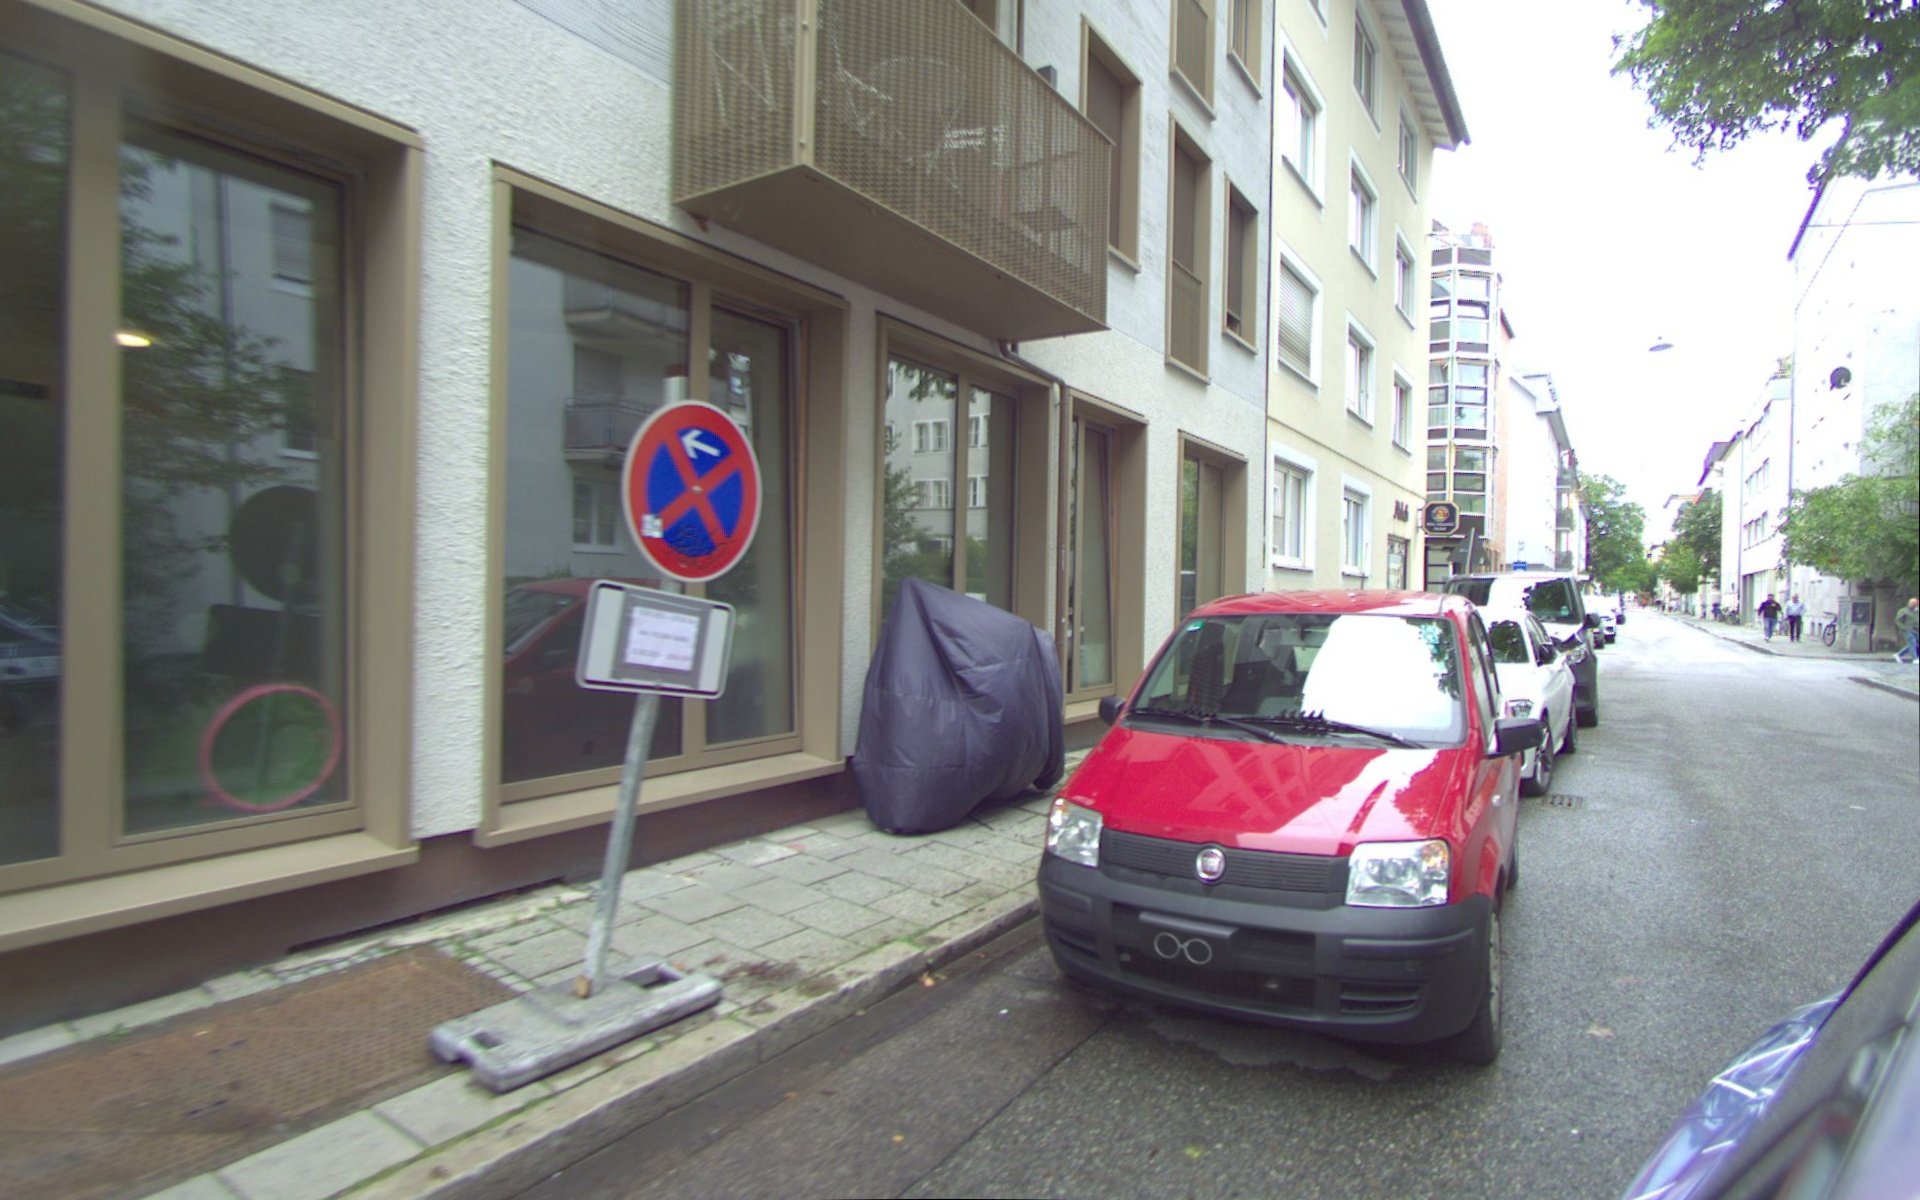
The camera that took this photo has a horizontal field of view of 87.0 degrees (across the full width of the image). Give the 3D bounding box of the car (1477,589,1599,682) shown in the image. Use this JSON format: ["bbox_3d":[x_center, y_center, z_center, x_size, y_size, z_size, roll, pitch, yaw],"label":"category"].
[{"bbox_3d":[10.376,0.569,18.059,1.628,1.490,3.494,-1,0,34],"label":"car"}]

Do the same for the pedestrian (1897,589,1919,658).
[{"bbox_3d":[24.039,0.570,25.314,0.686,1.699,0.849,-2,-1,32],"label":"pedestrian"}]

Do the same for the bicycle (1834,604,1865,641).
[{"bbox_3d":[27.691,0.675,31.528,0.428,1.109,1.684,-1,0,32],"label":"bicycle"}]

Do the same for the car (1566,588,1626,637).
[{"bbox_3d":[22.602,0.405,36.007,1.713,1.636,4.403,0,0,32],"label":"car"}]

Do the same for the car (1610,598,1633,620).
[{"bbox_3d":[41.594,0.533,63.628,1.183,1.337,2.745,0,0,34],"label":"car"}]

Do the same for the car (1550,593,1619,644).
[{"bbox_3d":[19.440,0.532,31.505,1.713,1.453,4.309,0,0,32],"label":"car"}]

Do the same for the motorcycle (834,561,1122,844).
[{"bbox_3d":[0.186,0.527,6.292,0.802,1.440,1.908,5,2,34],"label":"motorcycle"}]

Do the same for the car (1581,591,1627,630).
[{"bbox_3d":[27.937,0.426,43.972,1.608,1.599,4.005,0,0,32],"label":"car"}]

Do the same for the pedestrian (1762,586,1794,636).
[{"bbox_3d":[29.599,0.393,36.623,0.717,1.750,0.831,-4,-2,34],"label":"pedestrian"}]

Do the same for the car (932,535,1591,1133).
[{"bbox_3d":[1.780,0.608,4.785,1.766,1.543,4.014,-1,0,36],"label":"car"}]

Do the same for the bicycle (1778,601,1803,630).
[{"bbox_3d":[35.497,0.644,43.254,0.445,1.209,1.487,0,0,24],"label":"bicycle"}]

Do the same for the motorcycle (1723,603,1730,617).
[{"bbox_3d":[53.412,0.702,70.526,0.322,0.986,1.937,0,0,34],"label":"motorcycle"}]

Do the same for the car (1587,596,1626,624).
[{"bbox_3d":[33.313,0.506,52.110,1.609,1.394,3.770,0,0,34],"label":"car"}]

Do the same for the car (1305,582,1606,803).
[{"bbox_3d":[4.641,0.625,9.097,1.762,1.480,4.324,-1,0,35],"label":"car"}]

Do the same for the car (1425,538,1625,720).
[{"bbox_3d":[7.705,0.323,13.730,1.981,2.002,4.830,-1,0,31],"label":"car"}]

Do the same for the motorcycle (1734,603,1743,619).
[{"bbox_3d":[48.162,0.657,62.634,0.322,0.986,1.937,0,0,34],"label":"motorcycle"}]

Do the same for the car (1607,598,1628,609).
[{"bbox_3d":[76.188,0.360,117.297,1.986,1.282,3.951,0,0,34],"label":"car"}]

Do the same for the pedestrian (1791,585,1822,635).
[{"bbox_3d":[30.268,0.370,36.199,0.690,1.750,0.831,-4,-2,34],"label":"pedestrian"}]
